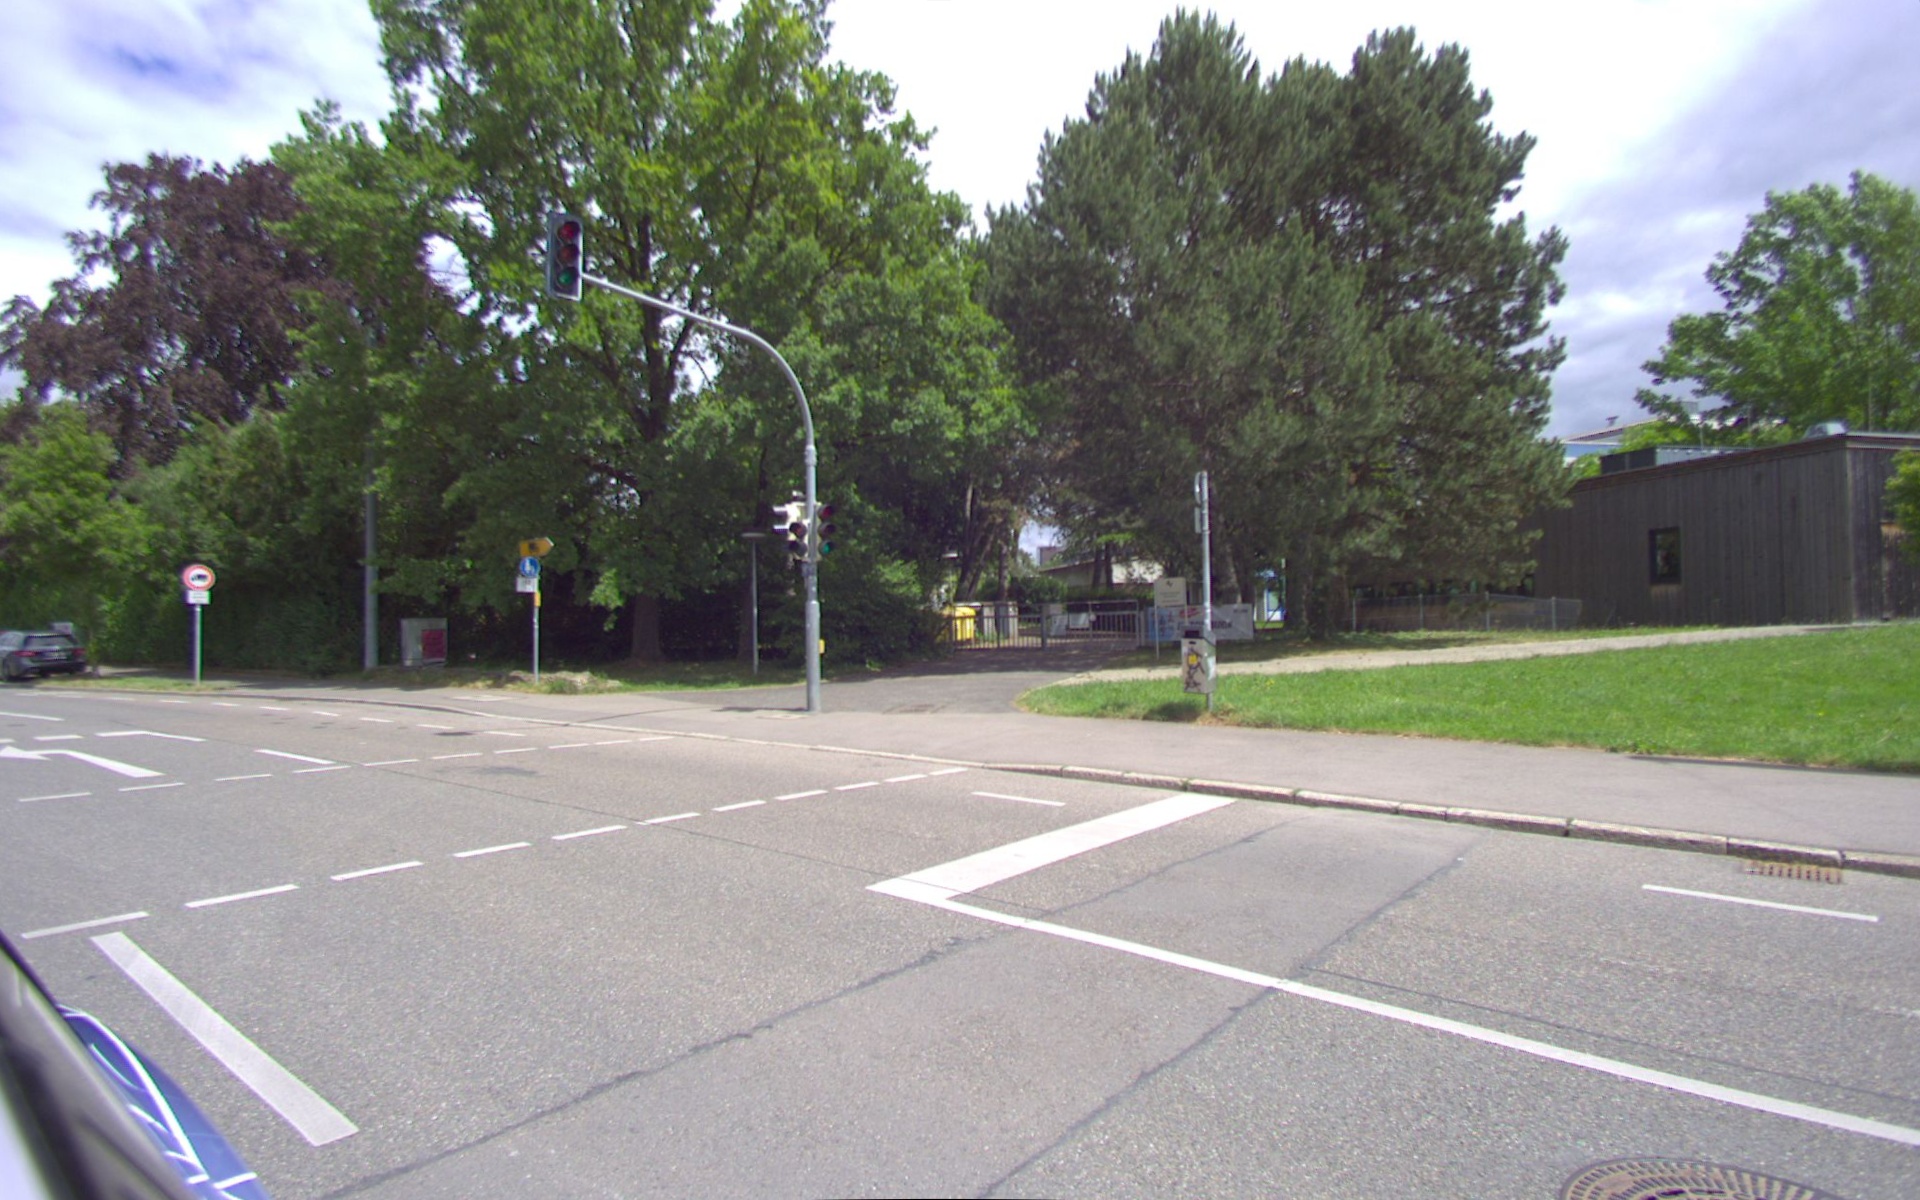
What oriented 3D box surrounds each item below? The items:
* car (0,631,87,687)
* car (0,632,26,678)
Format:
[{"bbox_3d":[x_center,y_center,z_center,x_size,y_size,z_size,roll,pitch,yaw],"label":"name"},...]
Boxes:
[{"bbox_3d":[-27.542,1.682,29.775,4.389,1.426,1.669,0,0,33],"label":"car"},{"bbox_3d":[-31.541,1.764,32.503,3.184,1.422,1.542,-1,0,33],"label":"car"}]
